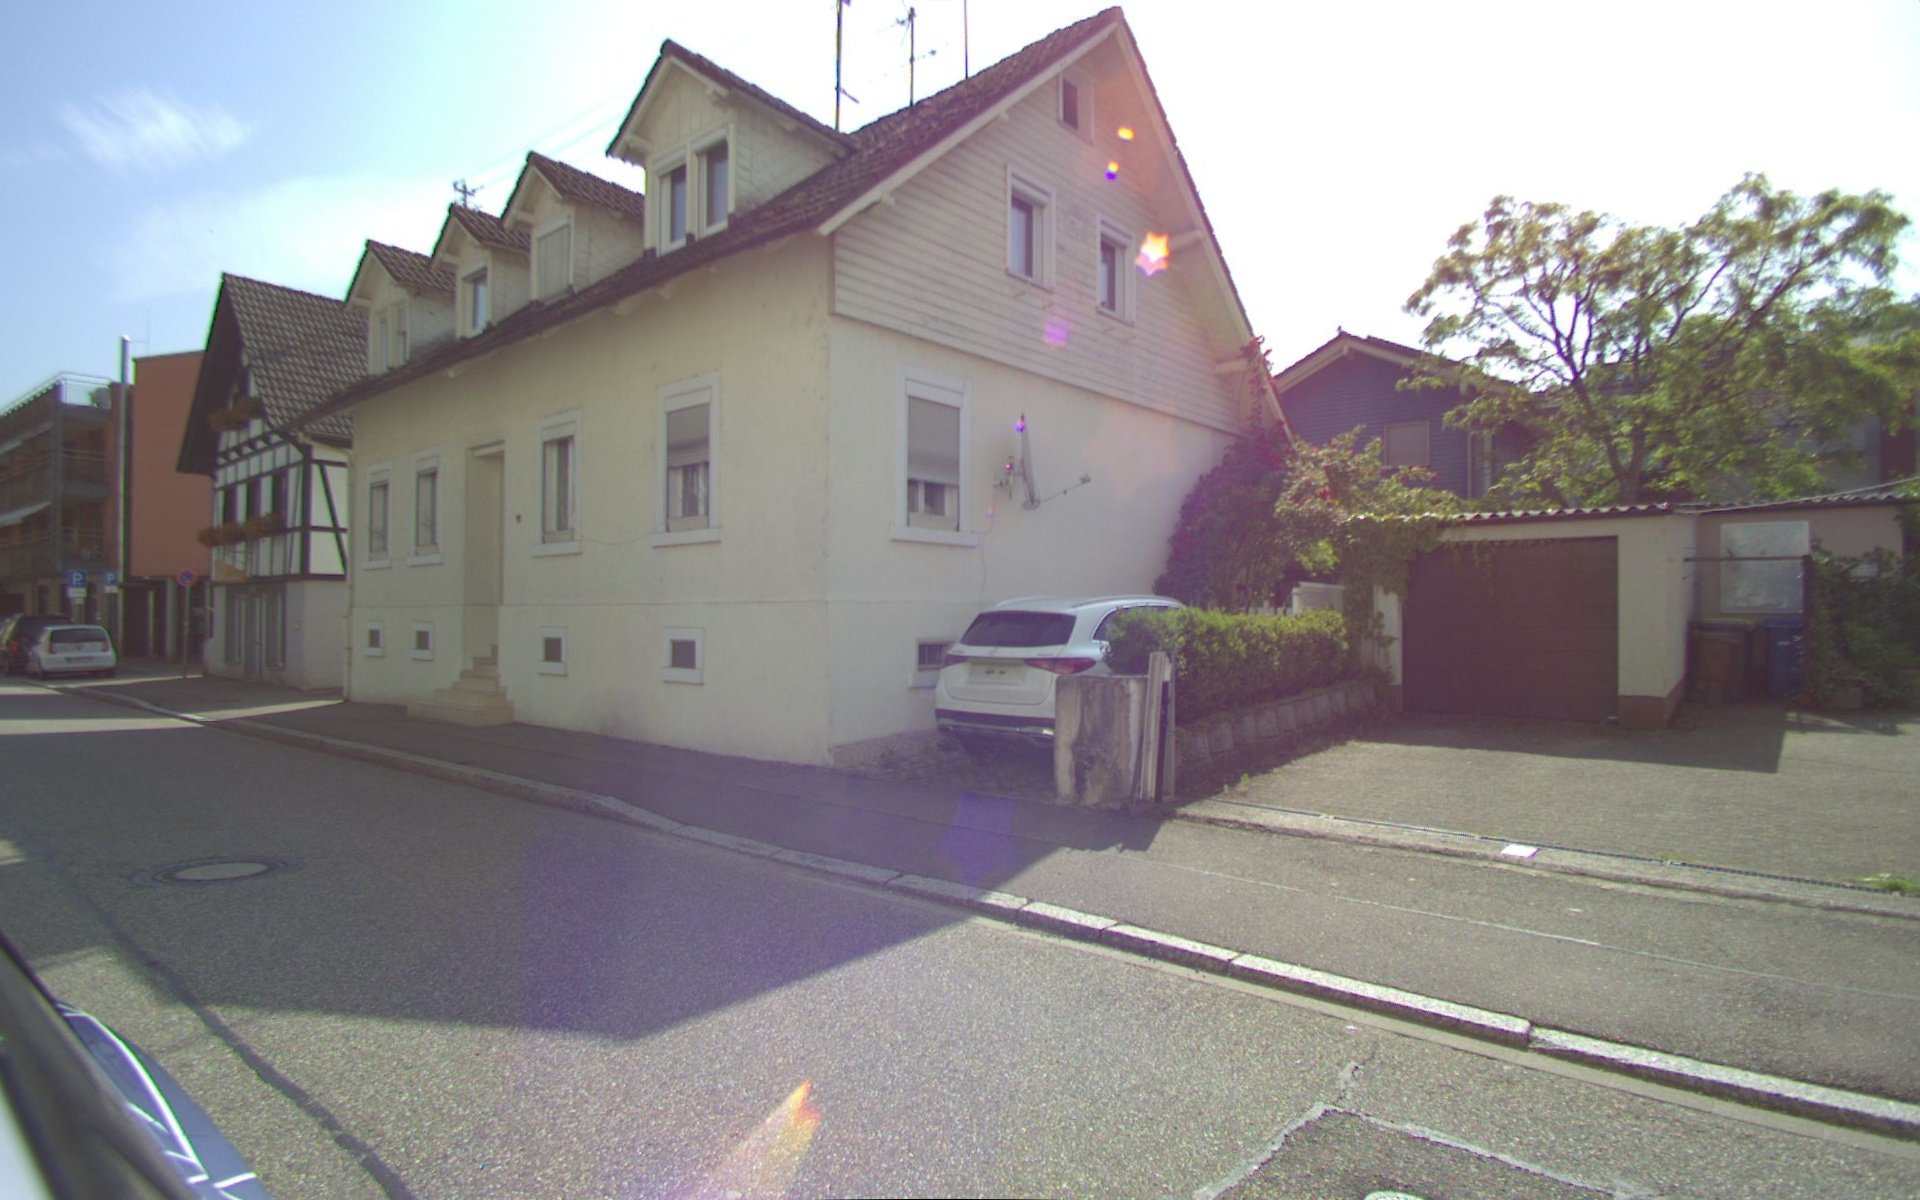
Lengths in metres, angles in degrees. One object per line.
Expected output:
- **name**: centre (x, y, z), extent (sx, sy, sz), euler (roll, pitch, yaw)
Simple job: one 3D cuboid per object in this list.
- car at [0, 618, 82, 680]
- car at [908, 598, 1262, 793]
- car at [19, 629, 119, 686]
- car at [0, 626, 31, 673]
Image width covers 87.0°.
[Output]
- **car**: centre (-29.118, 1.491, 31.652), extent (4.263, 1.810, 1.704), euler (-1, -2, 38)
- **car**: centre (1.466, 0.805, 10.496), extent (1.904, 1.606, 3.949), euler (-1, -1, 38)
- **car**: centre (-25.142, 1.590, 28.525), extent (3.566, 1.443, 1.649), euler (-2, -1, 41)
- **car**: centre (-33.822, 1.710, 35.191), extent (3.944, 1.601, 1.658), euler (-2, -2, 39)
